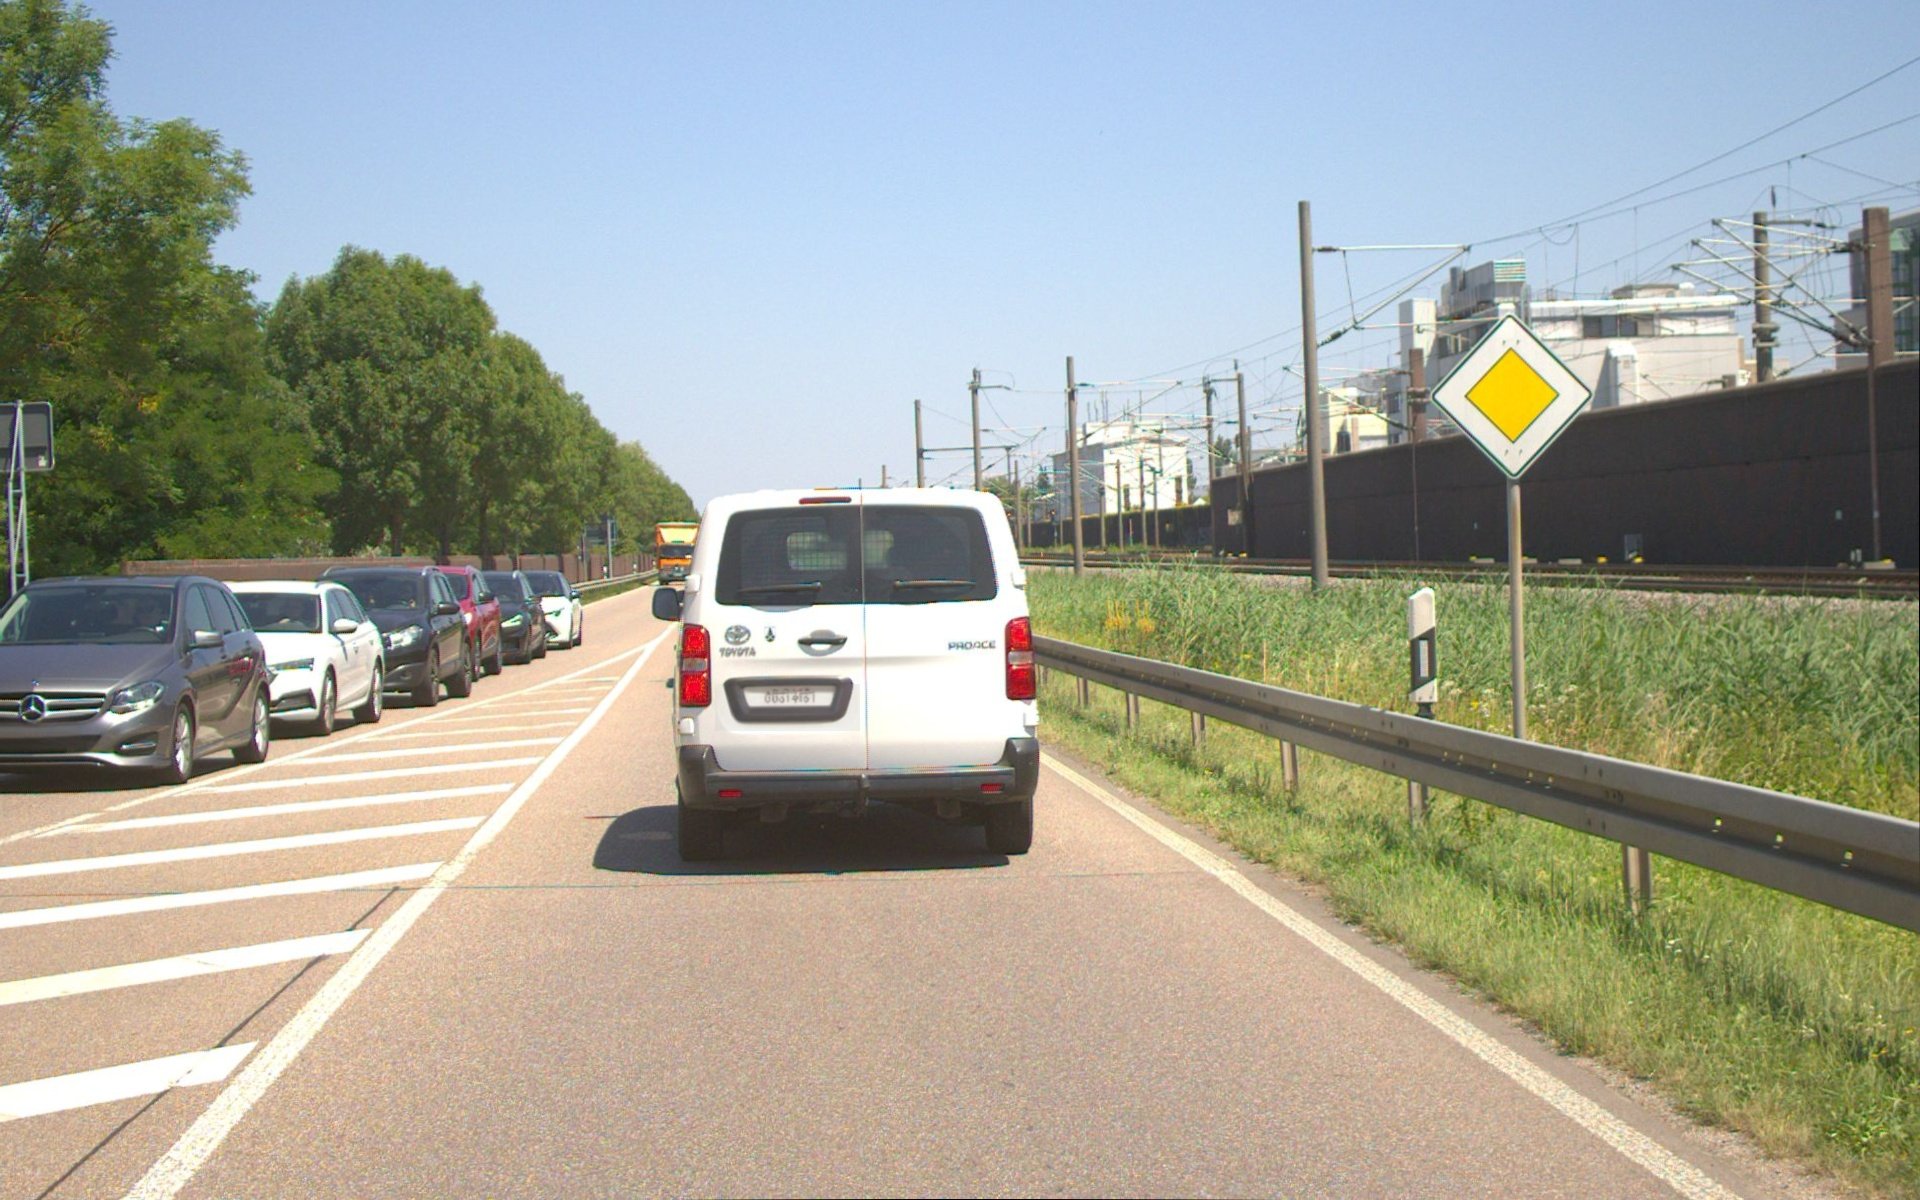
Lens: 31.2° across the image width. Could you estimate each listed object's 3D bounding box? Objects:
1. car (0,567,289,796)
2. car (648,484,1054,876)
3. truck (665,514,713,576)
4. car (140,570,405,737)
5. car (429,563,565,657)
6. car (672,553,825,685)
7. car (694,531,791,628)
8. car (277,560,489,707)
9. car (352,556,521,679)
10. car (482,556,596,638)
[{"bbox_3d":[-6.428,0.562,26.295,1.624,1.532,4.384,-2,1,1],"label":"car"},{"bbox_3d":[-0.679,0.366,19.137,1.945,1.875,4.881,-1,0,-4],"label":"car"},{"bbox_3d":[-17.114,-3.452,217.429,2.792,3.827,9.325,-1,1,-4],"label":"truck"},{"bbox_3d":[-6.695,0.473,33.910,1.653,1.473,4.630,-1,1,0],"label":"car"},{"bbox_3d":[-7.507,0.130,56.089,1.685,1.455,4.616,0,1,-1],"label":"car"},{"bbox_3d":[-2.832,0.210,45.346,1.905,1.644,4.142,0,1,-5],"label":"car"},{"bbox_3d":[-4.689,-0.465,74.568,2.007,2.015,4.783,-1,1,-3],"label":"car"},{"bbox_3d":[-6.751,0.348,40.634,1.716,1.584,4.535,-1,1,0],"label":"car"},{"bbox_3d":[-7.394,0.205,48.909,1.755,1.626,4.279,-1,1,0],"label":"car"},{"bbox_3d":[-7.745,-0.083,63.515,1.685,1.455,4.616,0,1,-2],"label":"car"}]
